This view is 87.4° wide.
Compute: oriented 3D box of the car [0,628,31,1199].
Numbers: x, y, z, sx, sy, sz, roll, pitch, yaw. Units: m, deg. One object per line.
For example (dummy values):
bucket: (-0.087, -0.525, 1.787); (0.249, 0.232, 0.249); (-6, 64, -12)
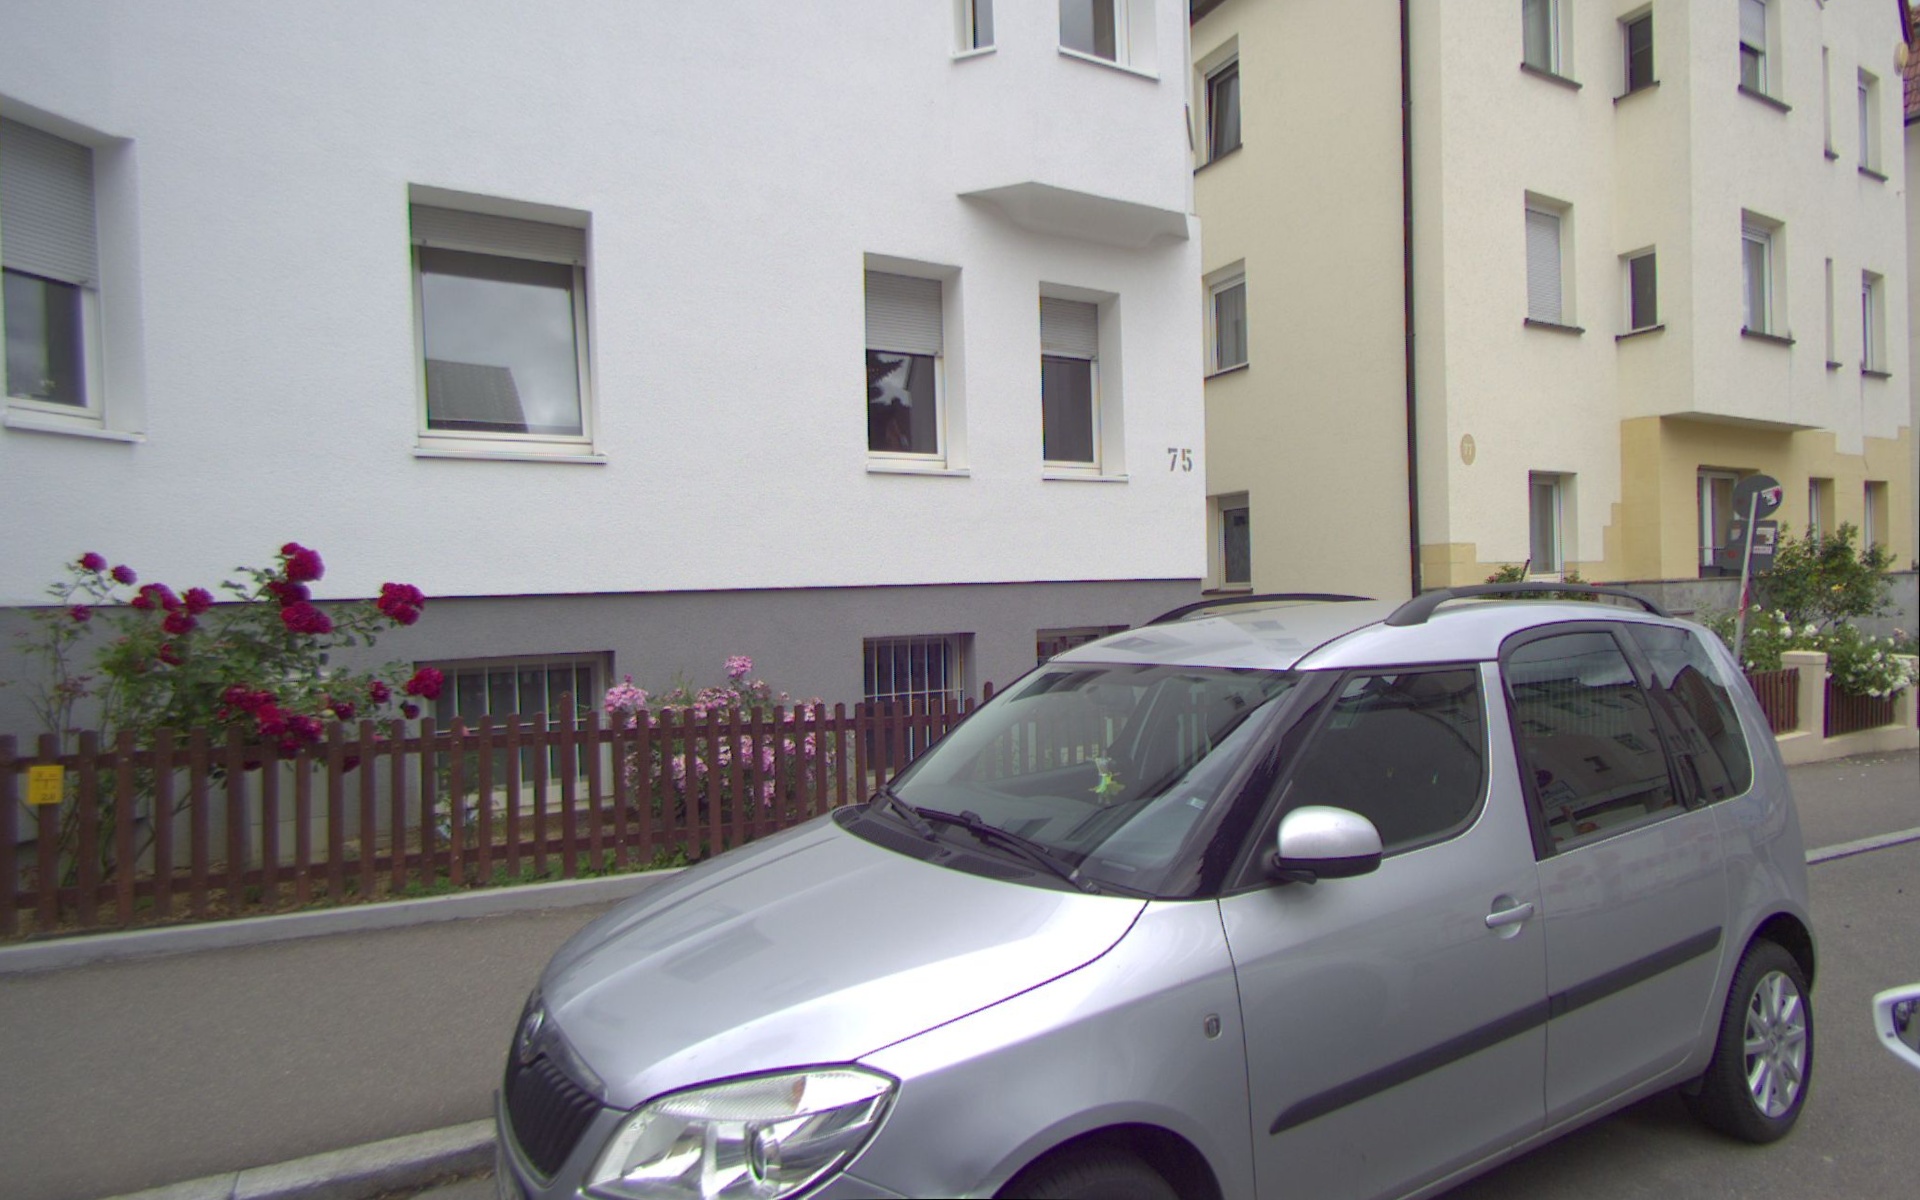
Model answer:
car: (-3.638, 0.735, 0.391); (4.450, 1.476, 1.837); (1, -2, -30)

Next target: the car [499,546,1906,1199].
car: (0.985, 0.785, 3.127); (4.238, 1.653, 1.835); (0, -1, -32)
